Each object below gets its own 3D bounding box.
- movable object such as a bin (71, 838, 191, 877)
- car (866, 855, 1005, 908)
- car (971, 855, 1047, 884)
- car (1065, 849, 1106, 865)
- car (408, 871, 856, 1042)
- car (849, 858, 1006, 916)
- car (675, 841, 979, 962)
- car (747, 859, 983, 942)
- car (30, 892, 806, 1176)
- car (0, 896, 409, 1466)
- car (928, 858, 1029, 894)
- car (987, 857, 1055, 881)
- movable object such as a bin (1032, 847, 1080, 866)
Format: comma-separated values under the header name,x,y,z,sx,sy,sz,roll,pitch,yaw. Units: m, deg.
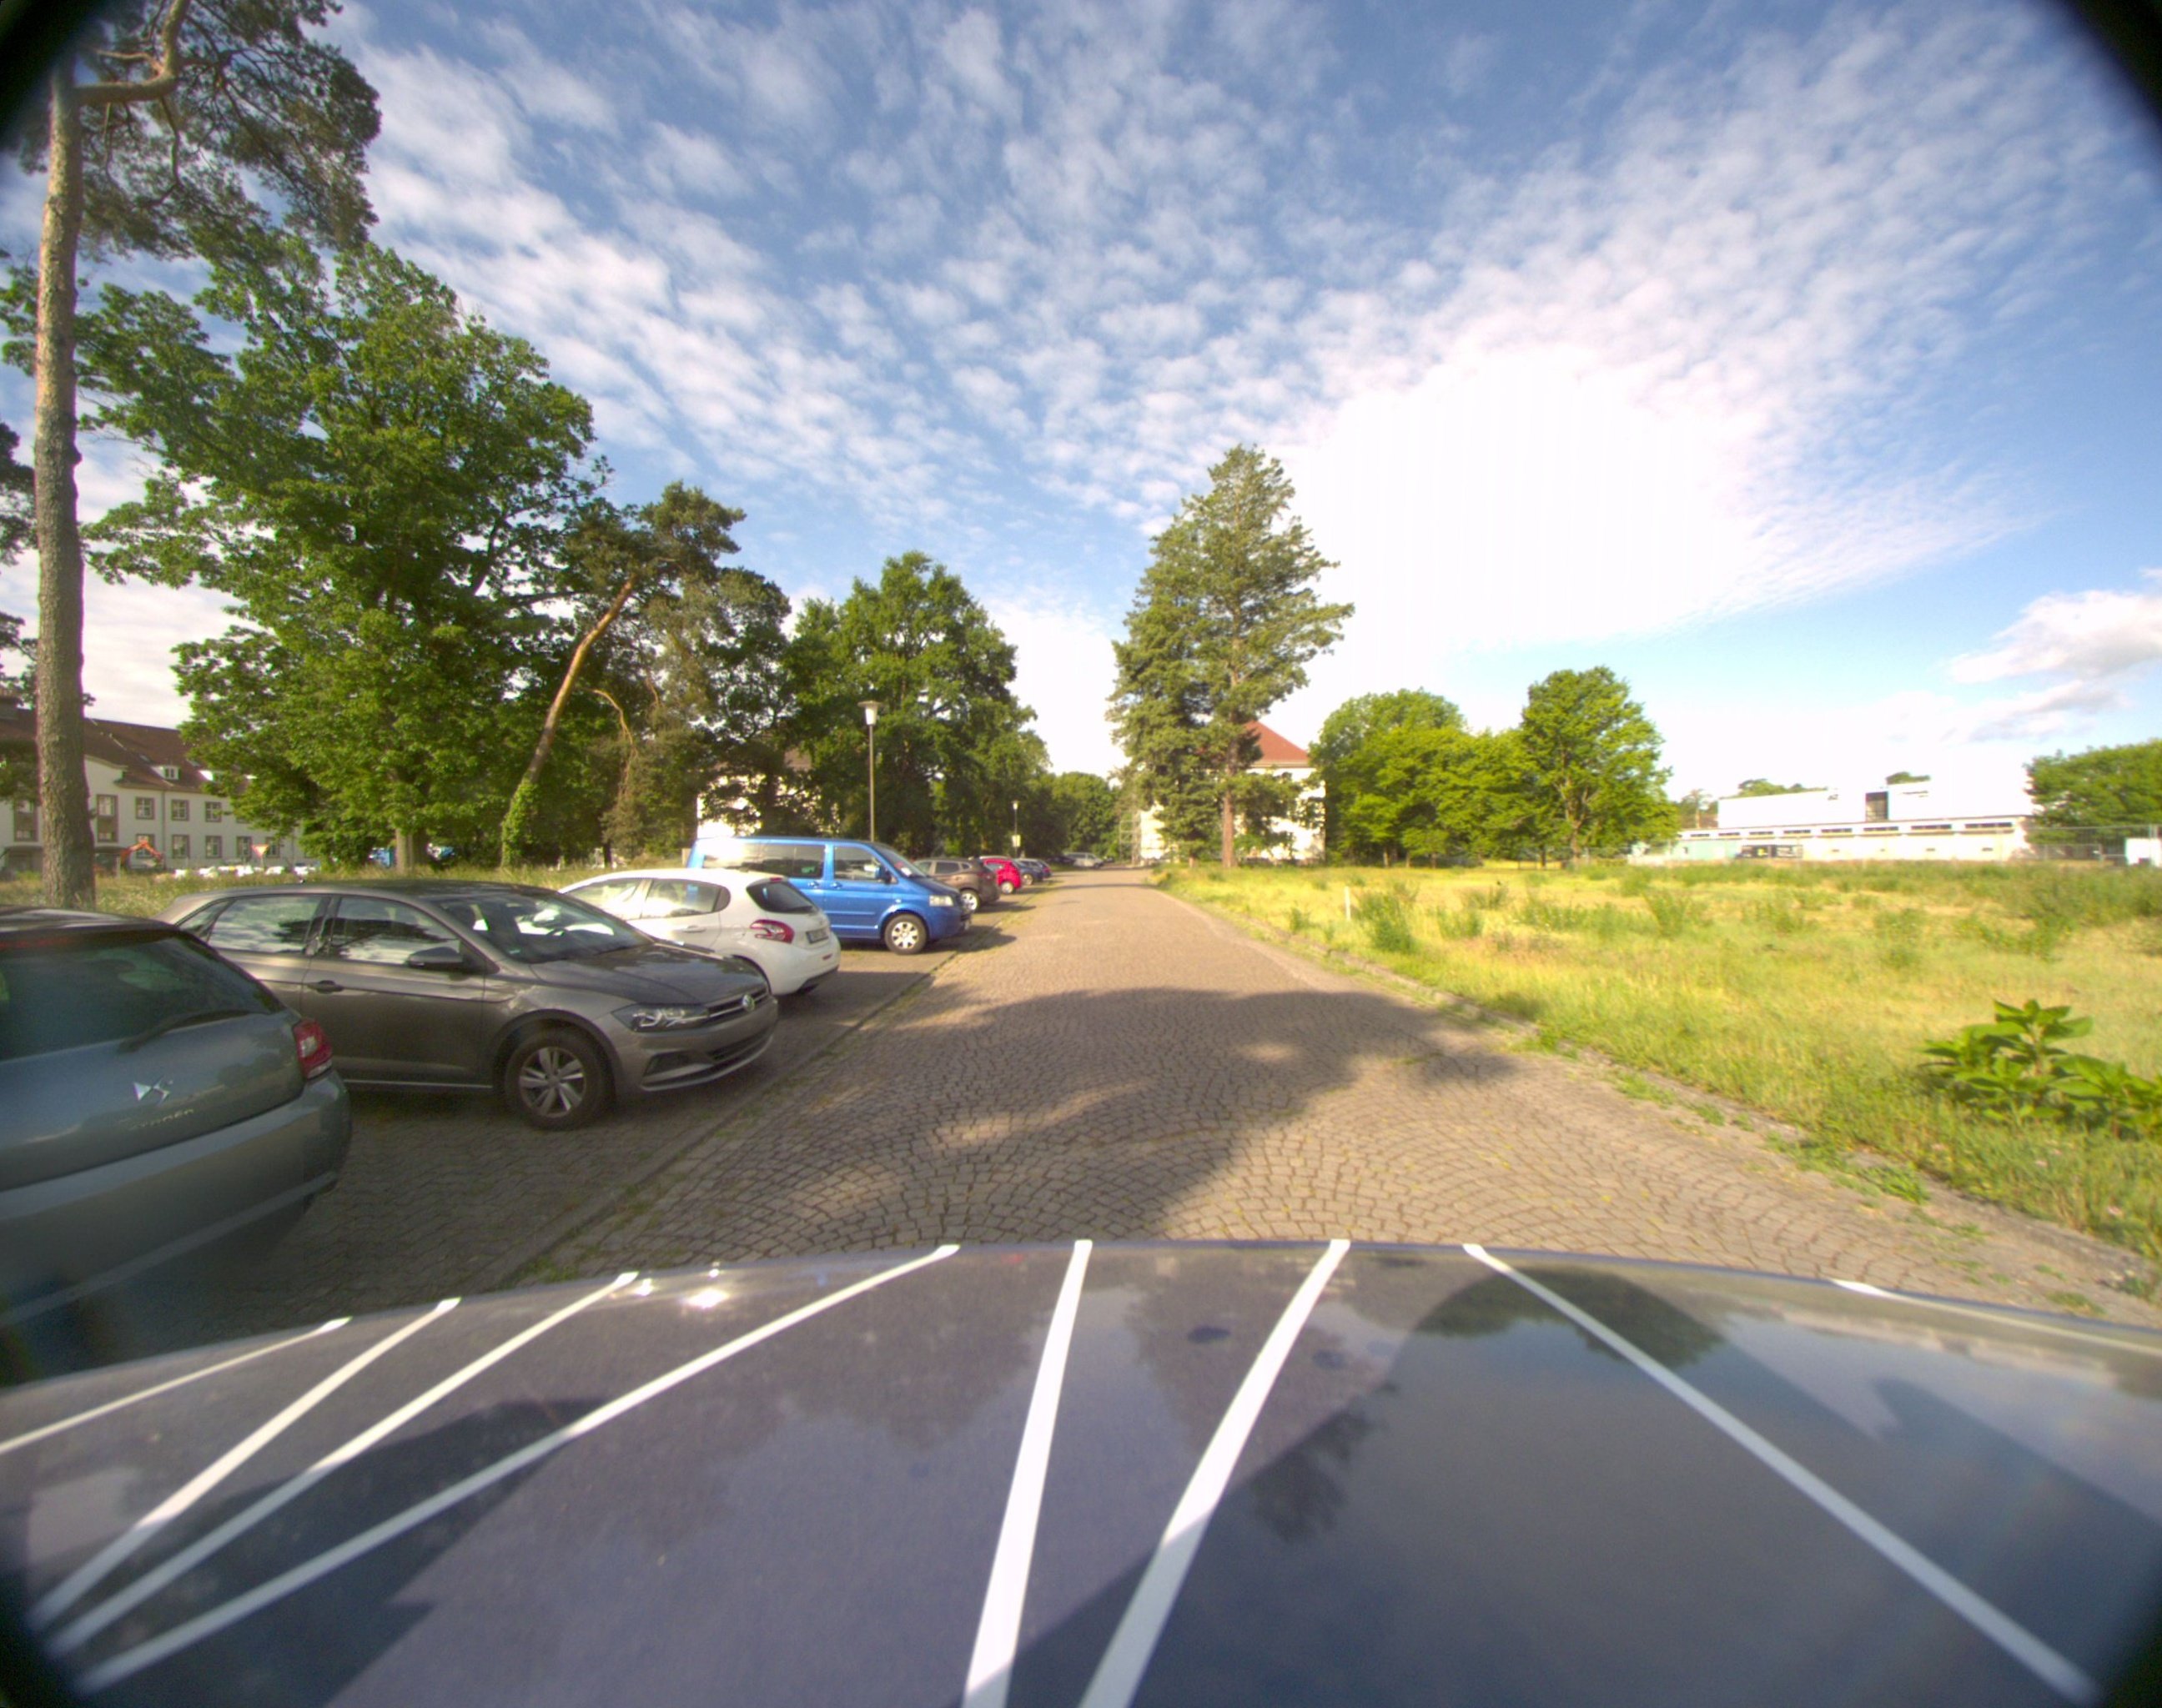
name,x,y,z,sx,sy,sz,roll,pitch,yaw
movable object such as a bin,-88.312,0.252,70.862,6.460,3.282,2.859,-4,2,-42
car,-4.705,0.866,25.031,4.237,1.588,1.934,1,1,-2
car,-4.011,0.854,42.943,4.098,1.548,1.853,1,0,-1
car,0.543,0.387,96.355,4.933,2.002,1.999,1,1,-5
car,-4.543,0.986,8.102,3.716,1.525,1.761,1,0,1
car,-4.391,0.932,22.322,4.237,1.589,1.934,0,1,-2
car,-4.310,0.780,13.475,4.710,1.924,2.000,1,1,0
car,-4.427,0.933,16.097,4.408,1.568,1.939,1,1,0
car,-4.099,1.055,5.215,3.716,1.440,1.856,1,0,1
car,-4.748,0.896,2.354,3.716,1.440,1.816,1,0,1
car,-4.352,0.927,32.689,4.098,1.451,1.853,1,0,-1
car,-3.726,0.925,47.629,4.098,1.415,1.784,1,0,-1
movable object such as a bin,-2.721,0.261,83.471,4.865,2.002,2.002,-1,0,14
